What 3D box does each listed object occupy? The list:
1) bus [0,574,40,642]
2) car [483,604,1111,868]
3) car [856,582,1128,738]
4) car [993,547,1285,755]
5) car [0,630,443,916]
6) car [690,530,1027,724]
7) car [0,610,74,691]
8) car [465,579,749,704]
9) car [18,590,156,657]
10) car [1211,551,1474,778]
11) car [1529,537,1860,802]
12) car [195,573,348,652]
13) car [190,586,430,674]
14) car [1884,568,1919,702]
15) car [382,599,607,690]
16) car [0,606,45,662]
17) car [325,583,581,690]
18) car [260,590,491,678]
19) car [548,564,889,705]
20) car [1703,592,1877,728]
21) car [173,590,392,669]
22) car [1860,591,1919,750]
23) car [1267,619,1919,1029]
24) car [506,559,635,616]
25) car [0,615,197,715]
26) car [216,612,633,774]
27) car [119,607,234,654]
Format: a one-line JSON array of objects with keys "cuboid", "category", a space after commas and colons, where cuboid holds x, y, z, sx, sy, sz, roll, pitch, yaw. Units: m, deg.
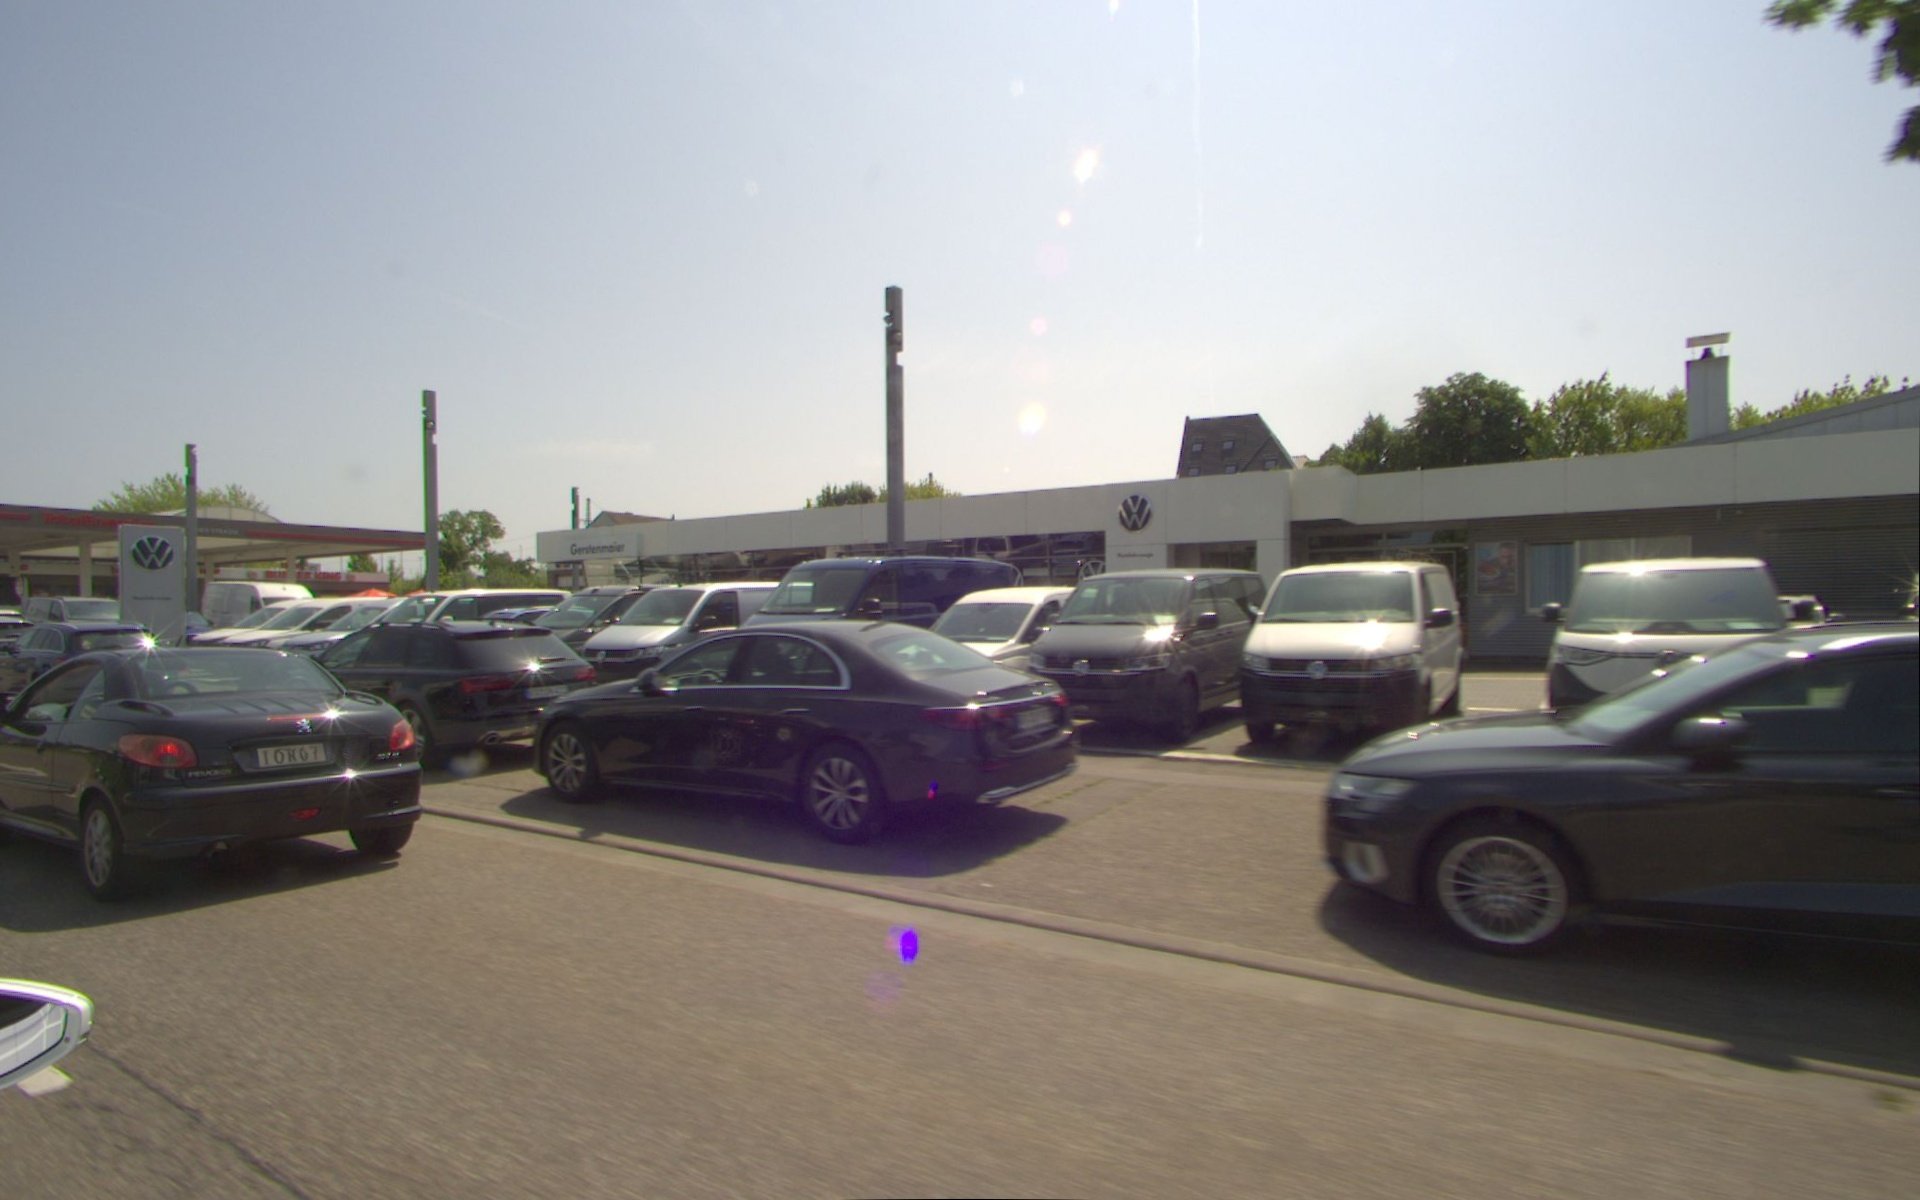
[{"cuboid": [-48.685, 0.332, 49.310, 12.123, 3.119, 2.795, 0, -1, 37], "category": "bus"}, {"cuboid": [-1.504, 0.849, 8.211, 5.088, 1.550, 1.956, -1, 1, 33], "category": "car"}, {"cuboid": [0.659, 0.701, 14.468, 1.923, 1.876, 4.558, 0, 1, 32], "category": "car"}, {"cuboid": [2.543, 0.504, 12.959, 2.098, 2.143, 4.889, 0, 1, 32], "category": "car"}, {"cuboid": [-5.272, 0.930, 6.749, 3.609, 1.443, 1.597, -1, -2, 33], "category": "car"}, {"cuboid": [-1.358, 0.493, 16.241, 2.176, 2.555, 5.829, -2, -3, 35], "category": "car"}, {"cuboid": [-20.215, 0.990, 20.539, 4.115, 1.572, 1.731, 0, -1, 28], "category": "car"}, {"cuboid": [-6.419, 0.741, 18.780, 1.975, 2.010, 4.778, 2, -1, 33], "category": "car"}, {"cuboid": [-28.338, 0.780, 32.461, 5.087, 2.048, 1.990, -1, -2, 32], "category": "car"}, {"cuboid": [4.809, 0.568, 12.029, 2.011, 2.125, 5.053, -1, 1, 32], "category": "car"}, {"cuboid": [7.211, 0.493, 10.169, 2.168, 2.041, 4.496, -2, 1, 33], "category": "car"}, {"cuboid": [-25.649, 0.471, 37.186, 6.919, 2.711, 2.250, 0, 0, 33], "category": "car"}, {"cuboid": [-15.632, 0.725, 24.353, 1.831, 1.912, 4.547, -3, -2, 32], "category": "car"}, {"cuboid": [16.346, 0.448, 15.898, 2.074, 1.897, 4.489, -2, 1, 38], "category": "car"}, {"cuboid": [-8.983, 0.857, 19.540, 1.695, 1.590, 3.617, -1, -2, 38], "category": "car"}, {"cuboid": [-29.701, 1.005, 30.438, 4.547, 1.617, 1.663, 0, 0, 33], "category": "car"}, {"cuboid": [-10.771, 0.668, 21.658, 1.931, 2.041, 4.631, 0, 1, 31], "category": "car"}, {"cuboid": [-13.250, 0.724, 22.950, 1.855, 1.804, 4.141, -3, -1, 32], "category": "car"}, {"cuboid": [-3.899, 0.622, 17.502, 2.228, 2.039, 5.882, -1, -3, 33], "category": "car"}, {"cuboid": [14.283, 0.924, 17.459, 2.053, 1.898, 4.491, -2, 1, 37], "category": "car"}, {"cuboid": [-17.745, 0.731, 26.448, 1.881, 1.907, 4.404, 0, 0, 32], "category": "car"}, {"cuboid": [9.885, 0.717, 8.779, 1.883, 1.491, 4.019, 0, 2, 26], "category": "car"}, {"cuboid": [3.799, 0.830, 4.423, 4.380, 1.454, 1.677, -1, 0, 35], "category": "car"}, {"cuboid": [-18.943, -0.542, 48.562, 6.973, 2.590, 2.251, 0, 0, 33], "category": "car"}, {"cuboid": [-15.673, 1.080, 17.806, 4.720, 1.568, 1.710, -1, 0, 31], "category": "car"}, {"cuboid": [-6.297, 0.931, 11.598, 5.079, 1.501, 1.852, -1, 0, 30], "category": "car"}, {"cuboid": [-27.219, 1.061, 34.769, 4.535, 1.533, 1.741, 0, -2, 33], "category": "car"}]
